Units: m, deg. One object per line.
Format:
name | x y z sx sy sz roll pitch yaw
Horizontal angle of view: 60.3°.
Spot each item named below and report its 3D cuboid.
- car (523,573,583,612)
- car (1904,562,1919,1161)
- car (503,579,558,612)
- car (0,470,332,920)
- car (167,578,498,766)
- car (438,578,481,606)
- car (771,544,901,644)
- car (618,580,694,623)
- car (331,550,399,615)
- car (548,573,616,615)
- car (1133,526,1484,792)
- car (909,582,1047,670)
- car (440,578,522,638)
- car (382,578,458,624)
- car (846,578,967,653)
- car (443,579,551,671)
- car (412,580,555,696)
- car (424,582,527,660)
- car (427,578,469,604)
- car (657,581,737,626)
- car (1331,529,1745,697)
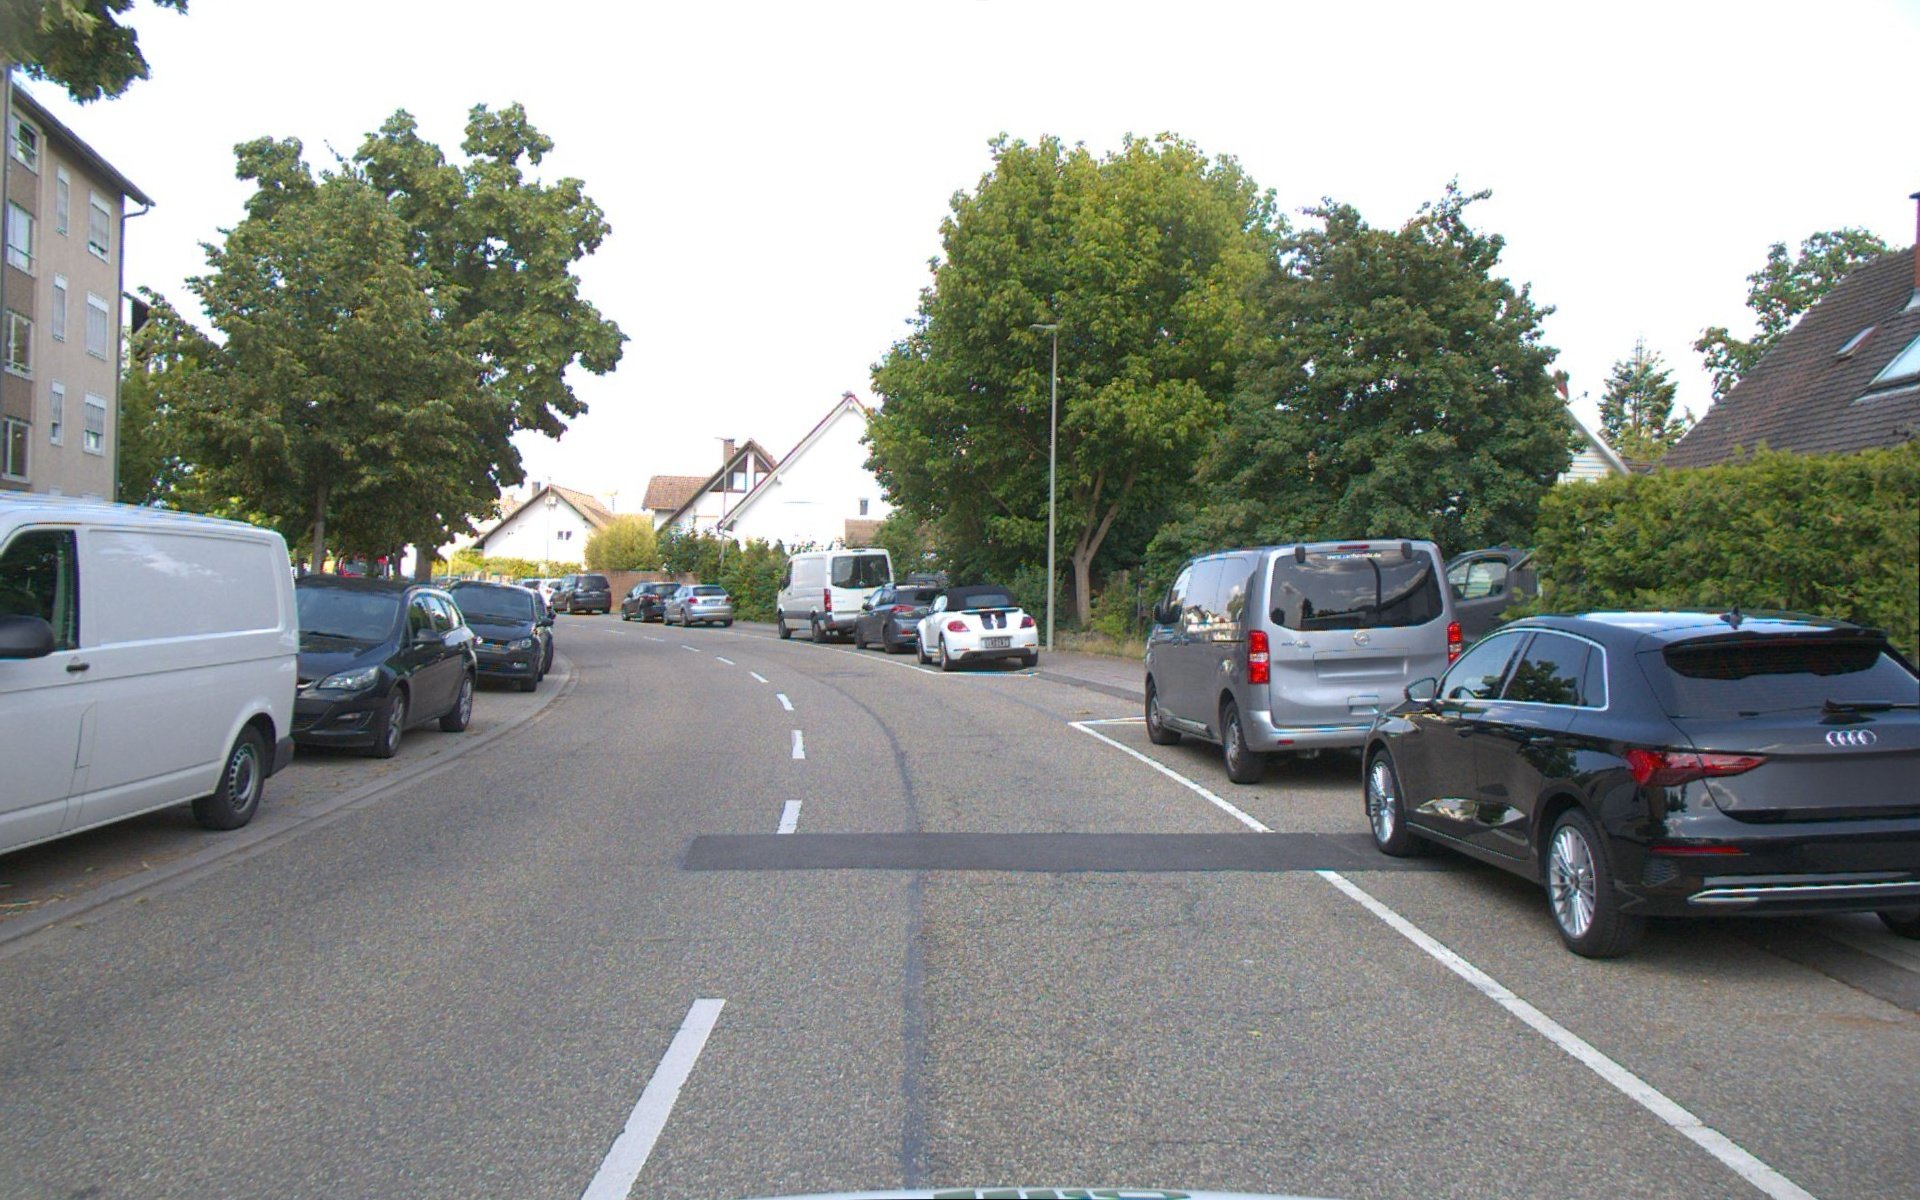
car | -19.454 -0.385 78.954 1.776 1.779 3.934 1 0 -30
car | 3.540 0.737 2.166 1.812 1.607 4.731 1 0 -1
car | -21.615 -0.251 83.194 1.775 1.550 3.936 1 0 -29
car | -5.268 0.379 8.772 1.841 2.044 5.321 3 1 -1
car | -5.798 0.583 15.896 1.726 1.515 4.501 1 0 -4
car | -29.737 -0.498 98.224 1.774 1.550 3.938 1 0 -28
car | -3.427 -0.191 44.488 2.085 2.483 5.863 1 0 -19
car | -11.630 0.026 63.115 1.716 1.535 4.438 1 0 -26
car | -25.760 -0.770 71.457 2.038 2.544 5.794 5 -1 -25
car | -16.809 -0.287 73.442 1.775 1.779 4.540 1 0 -28
car | 2.912 0.422 15.012 1.806 1.978 4.872 -1 1 -4
car | 0.254 0.447 31.498 1.709 1.539 4.445 1 0 -12
car | -13.478 0.192 46.412 1.736 1.515 4.315 3 0 -22
car | -19.754 0.008 60.396 1.768 1.483 4.392 6 -2 -29
car | -1.307 0.329 38.219 1.691 1.613 4.102 1 0 -18
car | -8.567 0.453 30.835 1.731 1.515 4.553 3 -1 -14
car | -7.010 0.507 24.658 1.730 1.515 4.020 3 0 -13
car | -10.324 0.409 35.469 1.805 1.464 4.077 3 0 -13
car | -31.677 -0.573 102.282 1.774 1.550 3.938 1 0 -28
car | -9.281 0.087 58.056 1.714 1.483 4.332 1 0 -24
car | 7.907 0.144 23.171 5.226 2.093 2.002 2 0 13
